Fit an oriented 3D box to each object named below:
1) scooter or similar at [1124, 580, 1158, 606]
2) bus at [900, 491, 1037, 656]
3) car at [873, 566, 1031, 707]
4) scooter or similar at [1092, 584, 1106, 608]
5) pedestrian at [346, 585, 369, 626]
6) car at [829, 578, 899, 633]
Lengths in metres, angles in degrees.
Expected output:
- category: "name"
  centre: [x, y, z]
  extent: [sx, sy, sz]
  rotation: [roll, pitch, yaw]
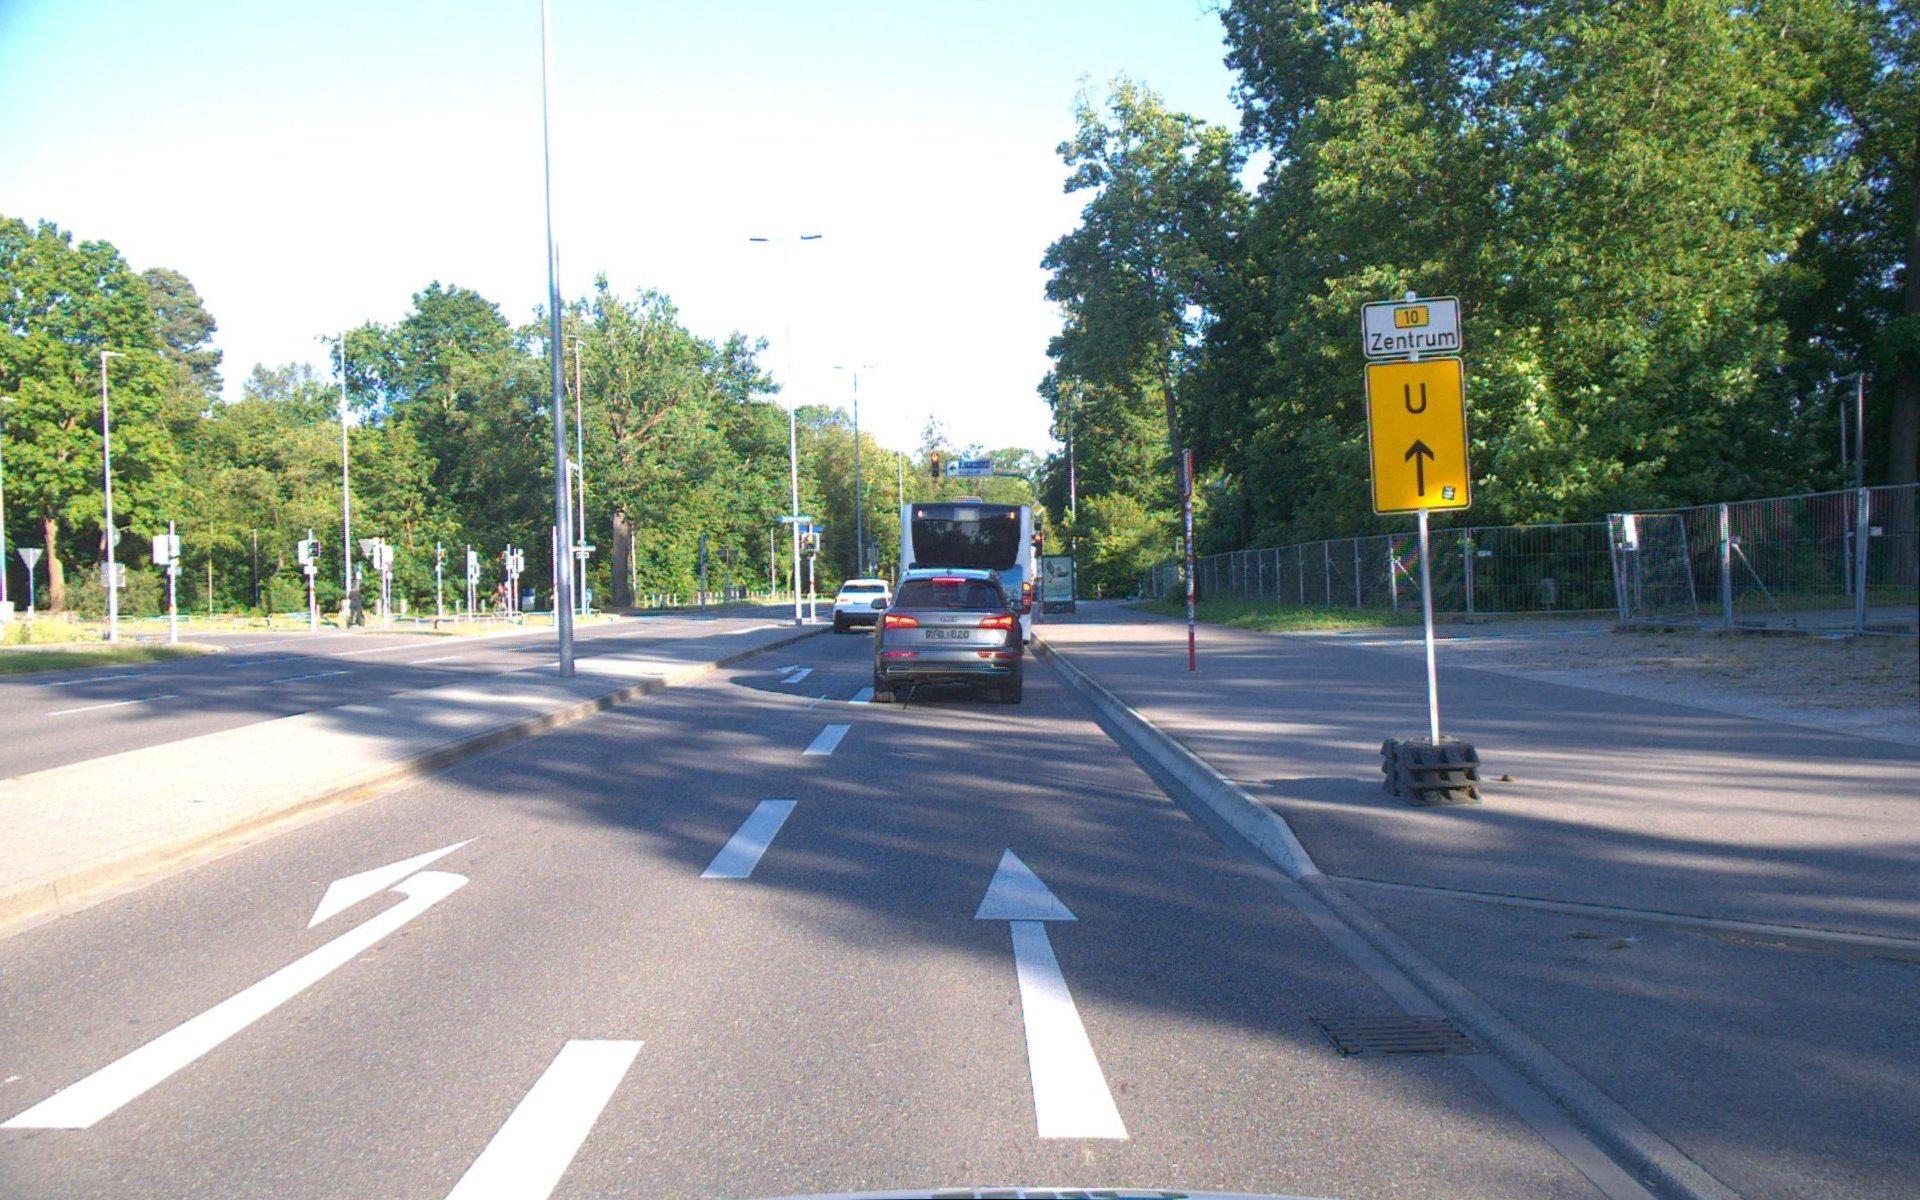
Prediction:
- category: "scooter or similar"
  centre: [10.962, -0.425, 100.242]
  extent: [1.990, 1.469, 0.601]
  rotation: [-2, 0, -25]
- category: "bus"
  centre: [0.173, -0.490, 35.200]
  extent: [2.541, 3.041, 9.326]
  rotation: [0, 0, 0]
- category: "car"
  centre: [-0.086, 0.415, 21.632]
  extent: [1.859, 1.660, 4.000]
  rotation: [0, 1, 0]
- category: "scooter or similar"
  centre: [8.610, -0.250, 102.719]
  extent: [0.498, 1.469, 2.020]
  rotation: [-2, 1, -5]
- category: "pedestrian"
  centre: [-23.442, 0.214, 64.366]
  extent: [0.643, 1.587, 0.531]
  rotation: [-2, 0, -42]
- category: "car"
  centre: [-2.819, 0.137, 49.270]
  extent: [1.799, 1.545, 4.000]
  rotation: [-1, 1, 0]
